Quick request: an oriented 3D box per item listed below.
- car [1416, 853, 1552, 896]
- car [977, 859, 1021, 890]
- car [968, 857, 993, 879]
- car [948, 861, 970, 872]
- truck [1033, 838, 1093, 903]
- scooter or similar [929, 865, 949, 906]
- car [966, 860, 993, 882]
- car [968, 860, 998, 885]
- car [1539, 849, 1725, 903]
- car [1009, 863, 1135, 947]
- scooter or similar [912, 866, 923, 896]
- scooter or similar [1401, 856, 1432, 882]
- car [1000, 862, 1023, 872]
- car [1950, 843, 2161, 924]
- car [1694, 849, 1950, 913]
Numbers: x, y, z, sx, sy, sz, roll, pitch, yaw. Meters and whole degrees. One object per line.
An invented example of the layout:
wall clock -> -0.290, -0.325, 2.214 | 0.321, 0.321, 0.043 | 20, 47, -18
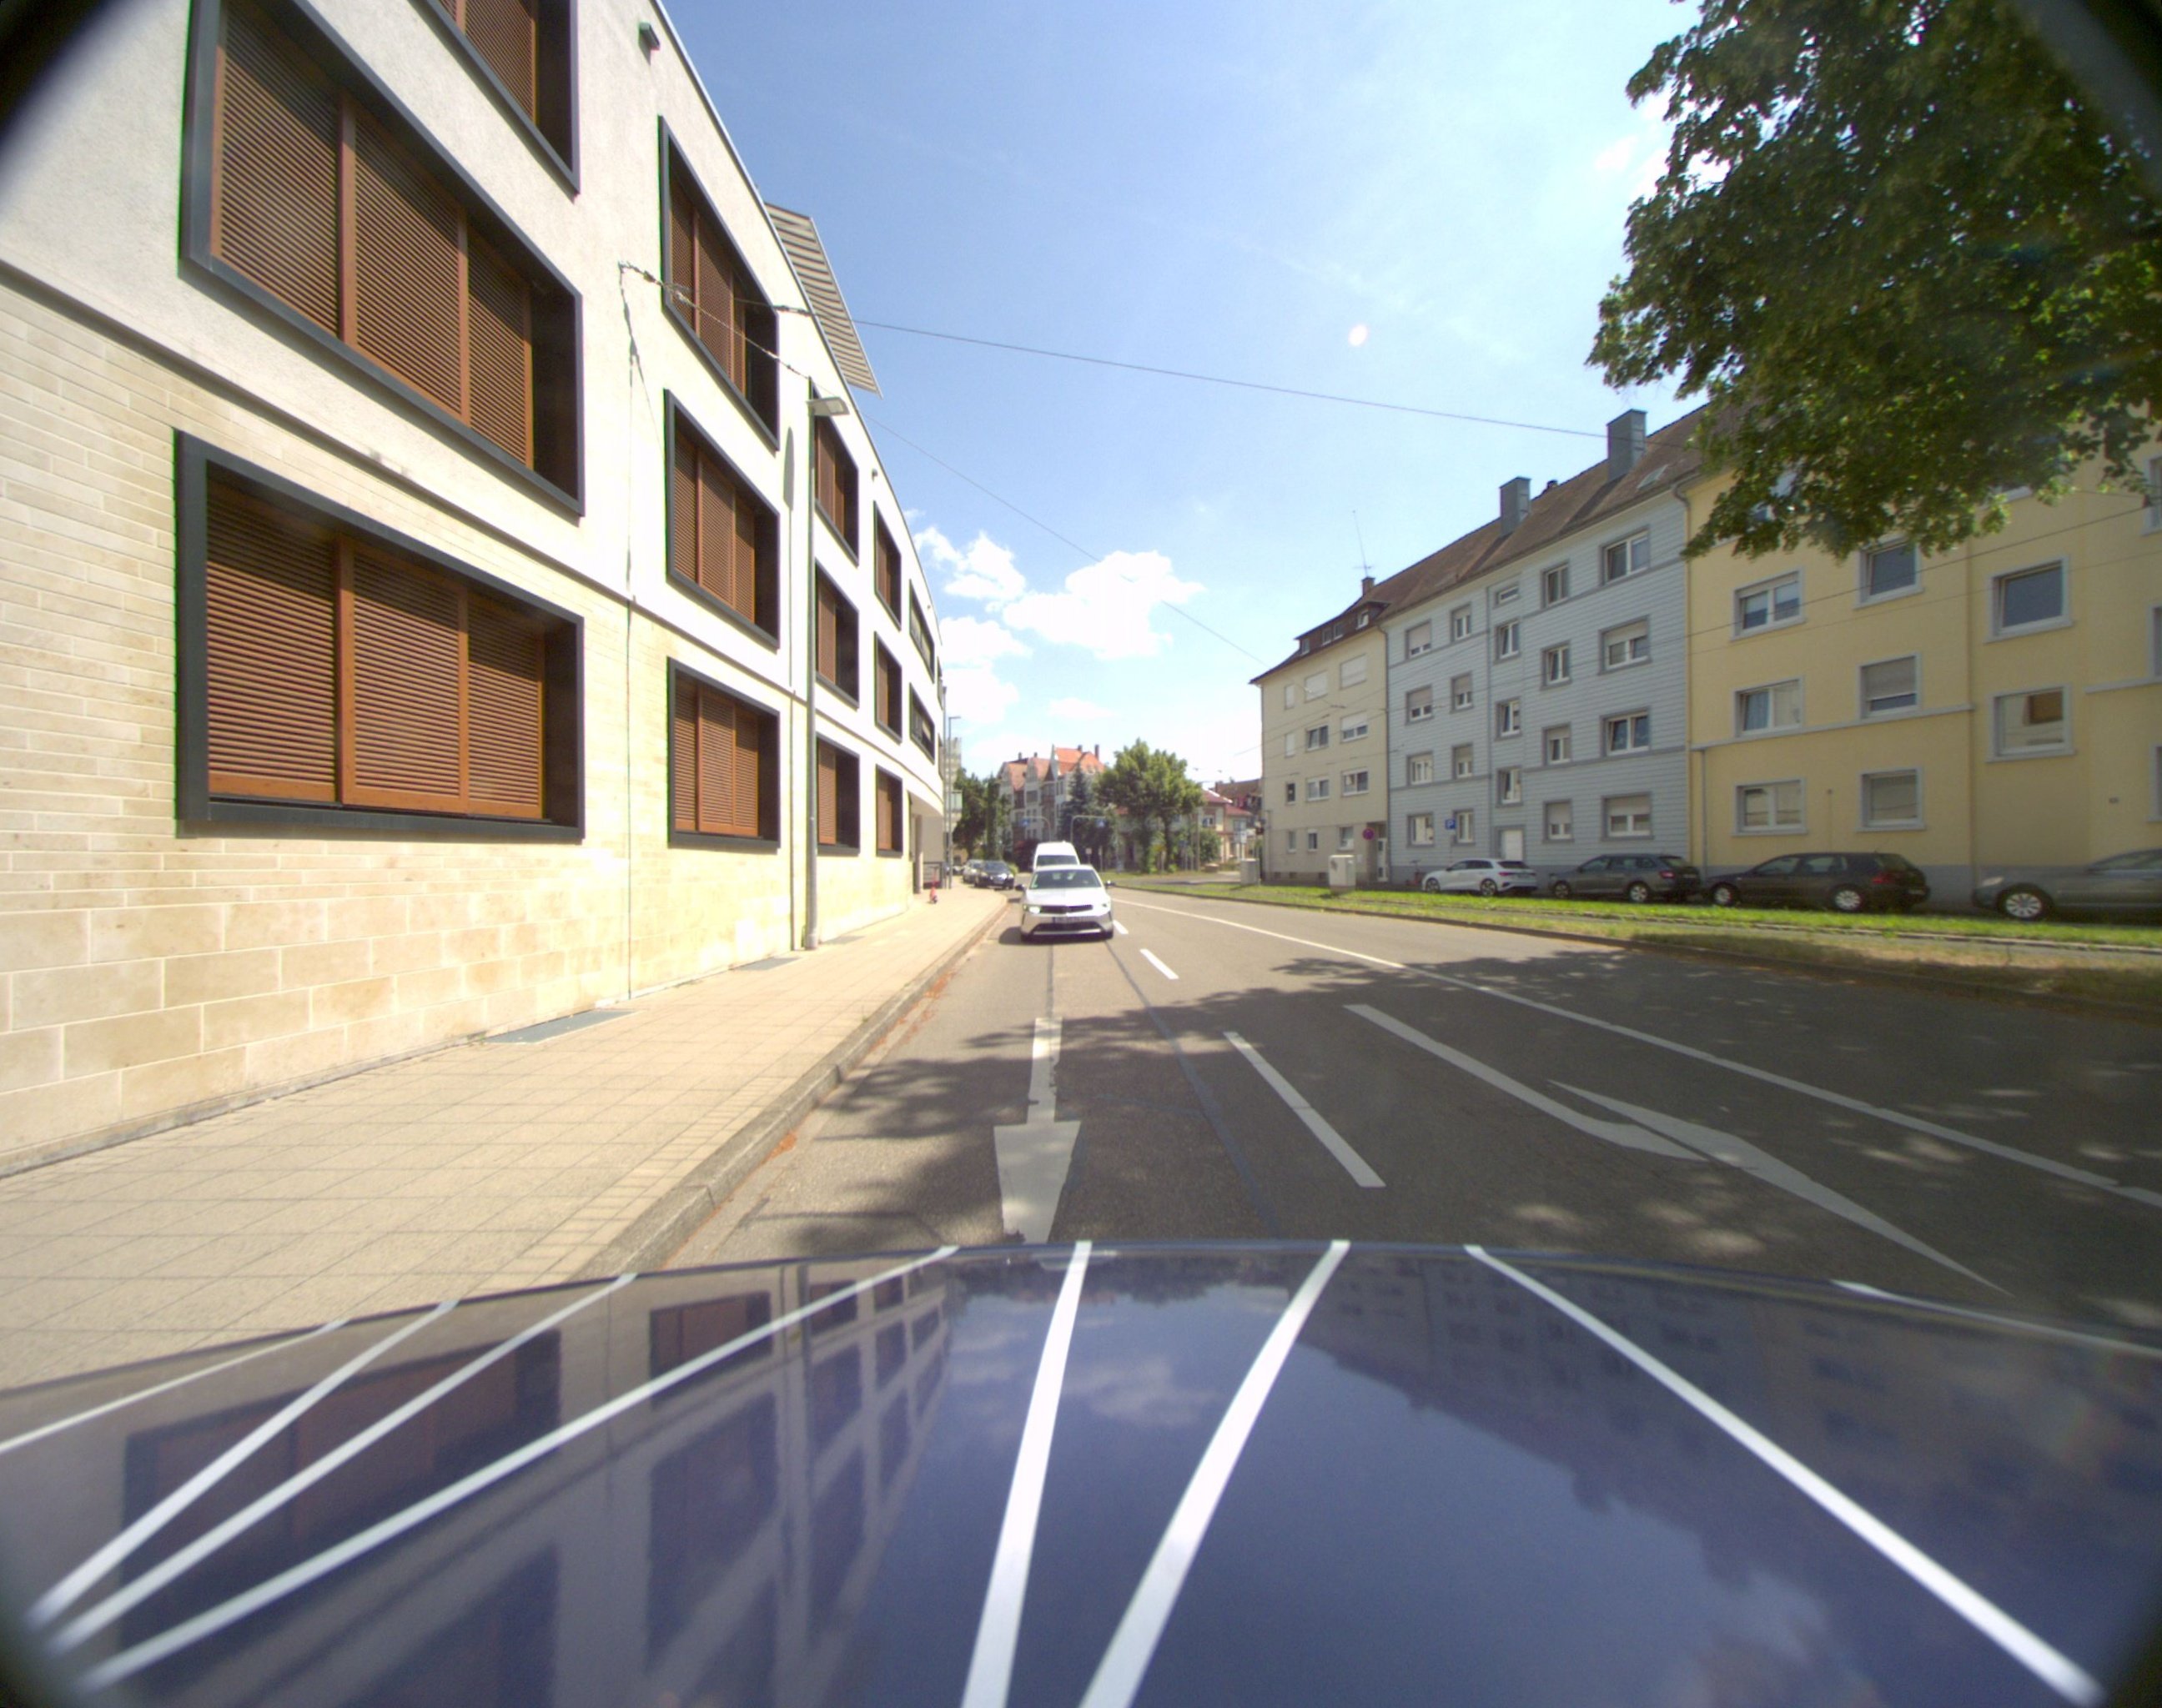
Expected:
car -> 14.957, 0.761, 28.486 | 1.936, 1.442, 4.369 | 2, -1, -18
car -> -4.533, 1.059, 41.368 | 1.806, 1.500, 4.542 | 3, 0, -13
car -> -8.011, 1.099, 60.633 | 1.732, 1.601, 3.798 | 1, 0, -4
car -> -20.110, 2.065, 125.321 | 1.779, 1.604, 3.864 | 6, -4, -38
truck -> -0.823, 0.598, 30.032 | 2.020, 2.236, 5.406 | -3, 0, -4
scooter or similar -> -4.617, 1.010, 24.696 | 0.583, 1.253, 1.366 | 1, 0, -11
car -> -7.017, 1.156, 52.736 | 1.732, 1.424, 4.040 | 3, 0, -7
car -> -6.243, 1.140, 48.034 | 1.598, 1.424, 3.703 | 3, 0, -11
car -> 16.743, 0.653, 23.393 | 1.935, 1.496, 4.319 | 0, -1, -18
car -> -0.044, 0.989, 16.207 | 1.799, 1.457, 4.175 | -2, 0, 11
scooter or similar -> -6.771, 1.097, 31.429 | 0.423, 1.204, 1.313 | -1, 0, -13
scooter or similar -> 16.073, 0.725, 36.411 | 0.640, 1.216, 1.319 | -2, 0, -16
car -> -9.760, 1.837, 106.488 | 1.821, 1.318, 3.992 | 0, -1, -27
car -> 19.362, 0.528, 13.478 | 1.935, 1.389, 4.857 | 1, -1, -15
car -> 17.915, 0.628, 18.674 | 1.838, 1.391, 4.137 | 0, -1, -16
